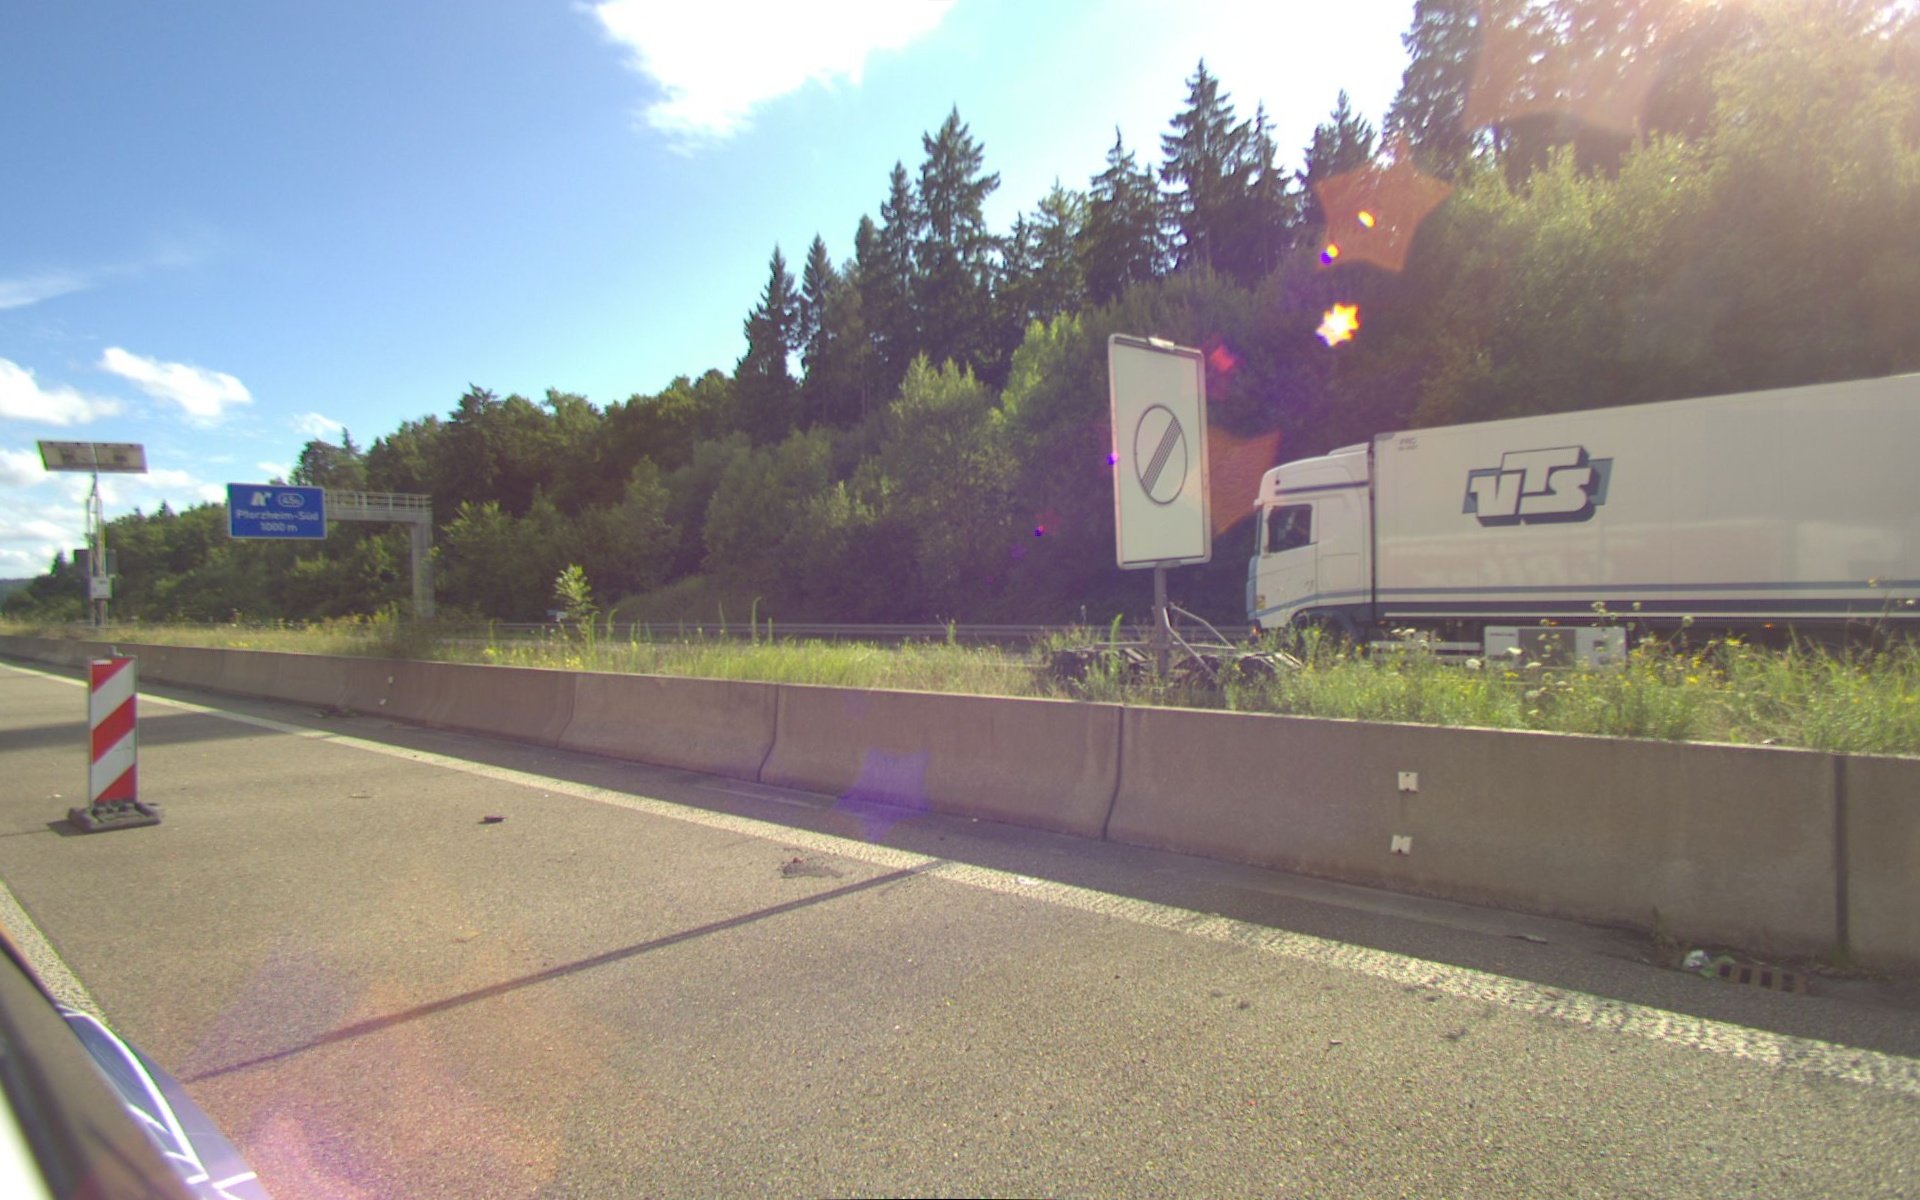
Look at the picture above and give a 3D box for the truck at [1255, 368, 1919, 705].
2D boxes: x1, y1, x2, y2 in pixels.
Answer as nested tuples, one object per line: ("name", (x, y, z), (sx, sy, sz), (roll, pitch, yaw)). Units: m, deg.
("truck", (10.123, -0.750, 15.040), (10.856, 4.015, 2.754), (-1, 0, 41))
